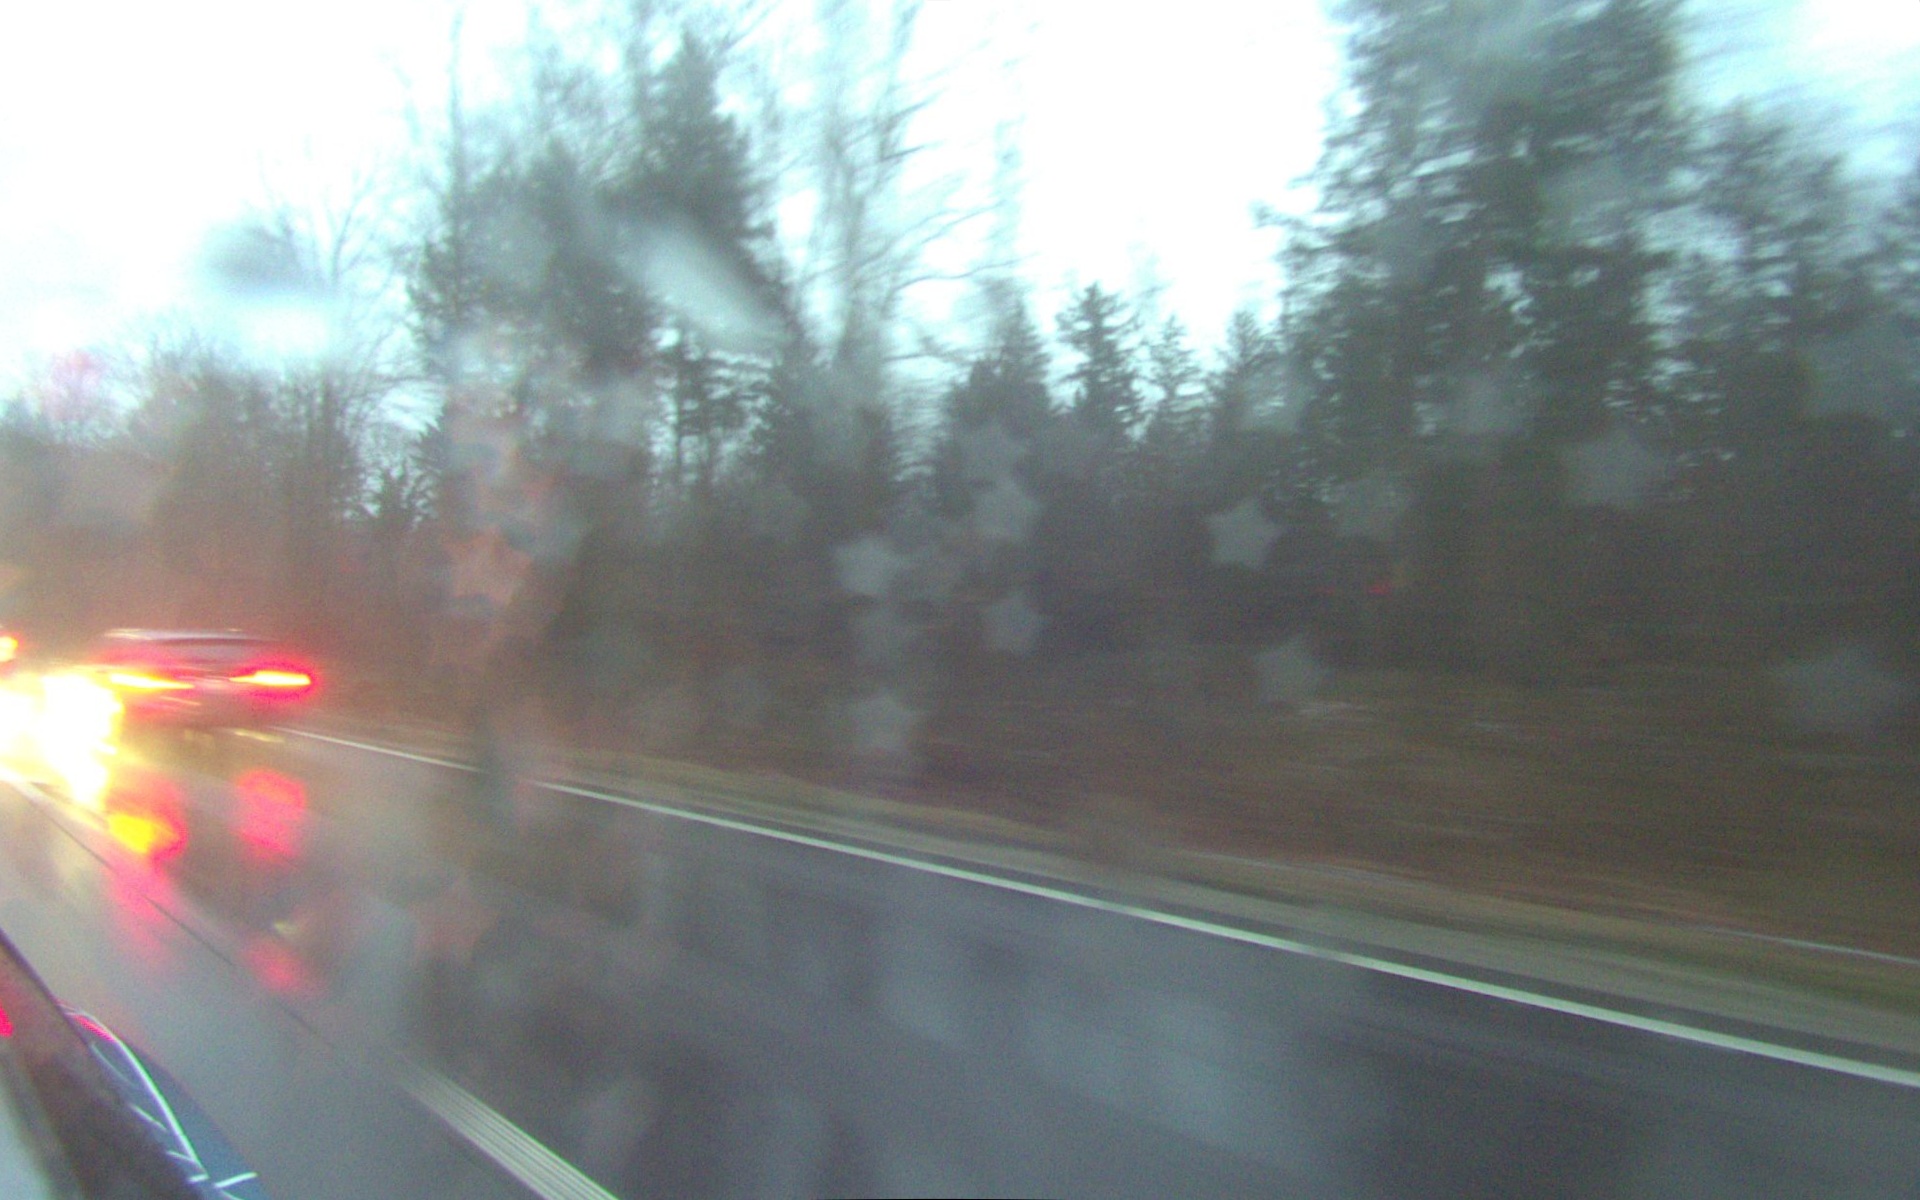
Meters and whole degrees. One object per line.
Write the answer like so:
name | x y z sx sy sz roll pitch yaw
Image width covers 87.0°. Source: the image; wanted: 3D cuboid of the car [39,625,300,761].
car | -10.224 1.049 12.969 4.385 1.433 1.849 -1 -2 41

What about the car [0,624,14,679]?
car | -31.072 1.572 31.543 5.015 1.620 1.897 -1 -1 42
